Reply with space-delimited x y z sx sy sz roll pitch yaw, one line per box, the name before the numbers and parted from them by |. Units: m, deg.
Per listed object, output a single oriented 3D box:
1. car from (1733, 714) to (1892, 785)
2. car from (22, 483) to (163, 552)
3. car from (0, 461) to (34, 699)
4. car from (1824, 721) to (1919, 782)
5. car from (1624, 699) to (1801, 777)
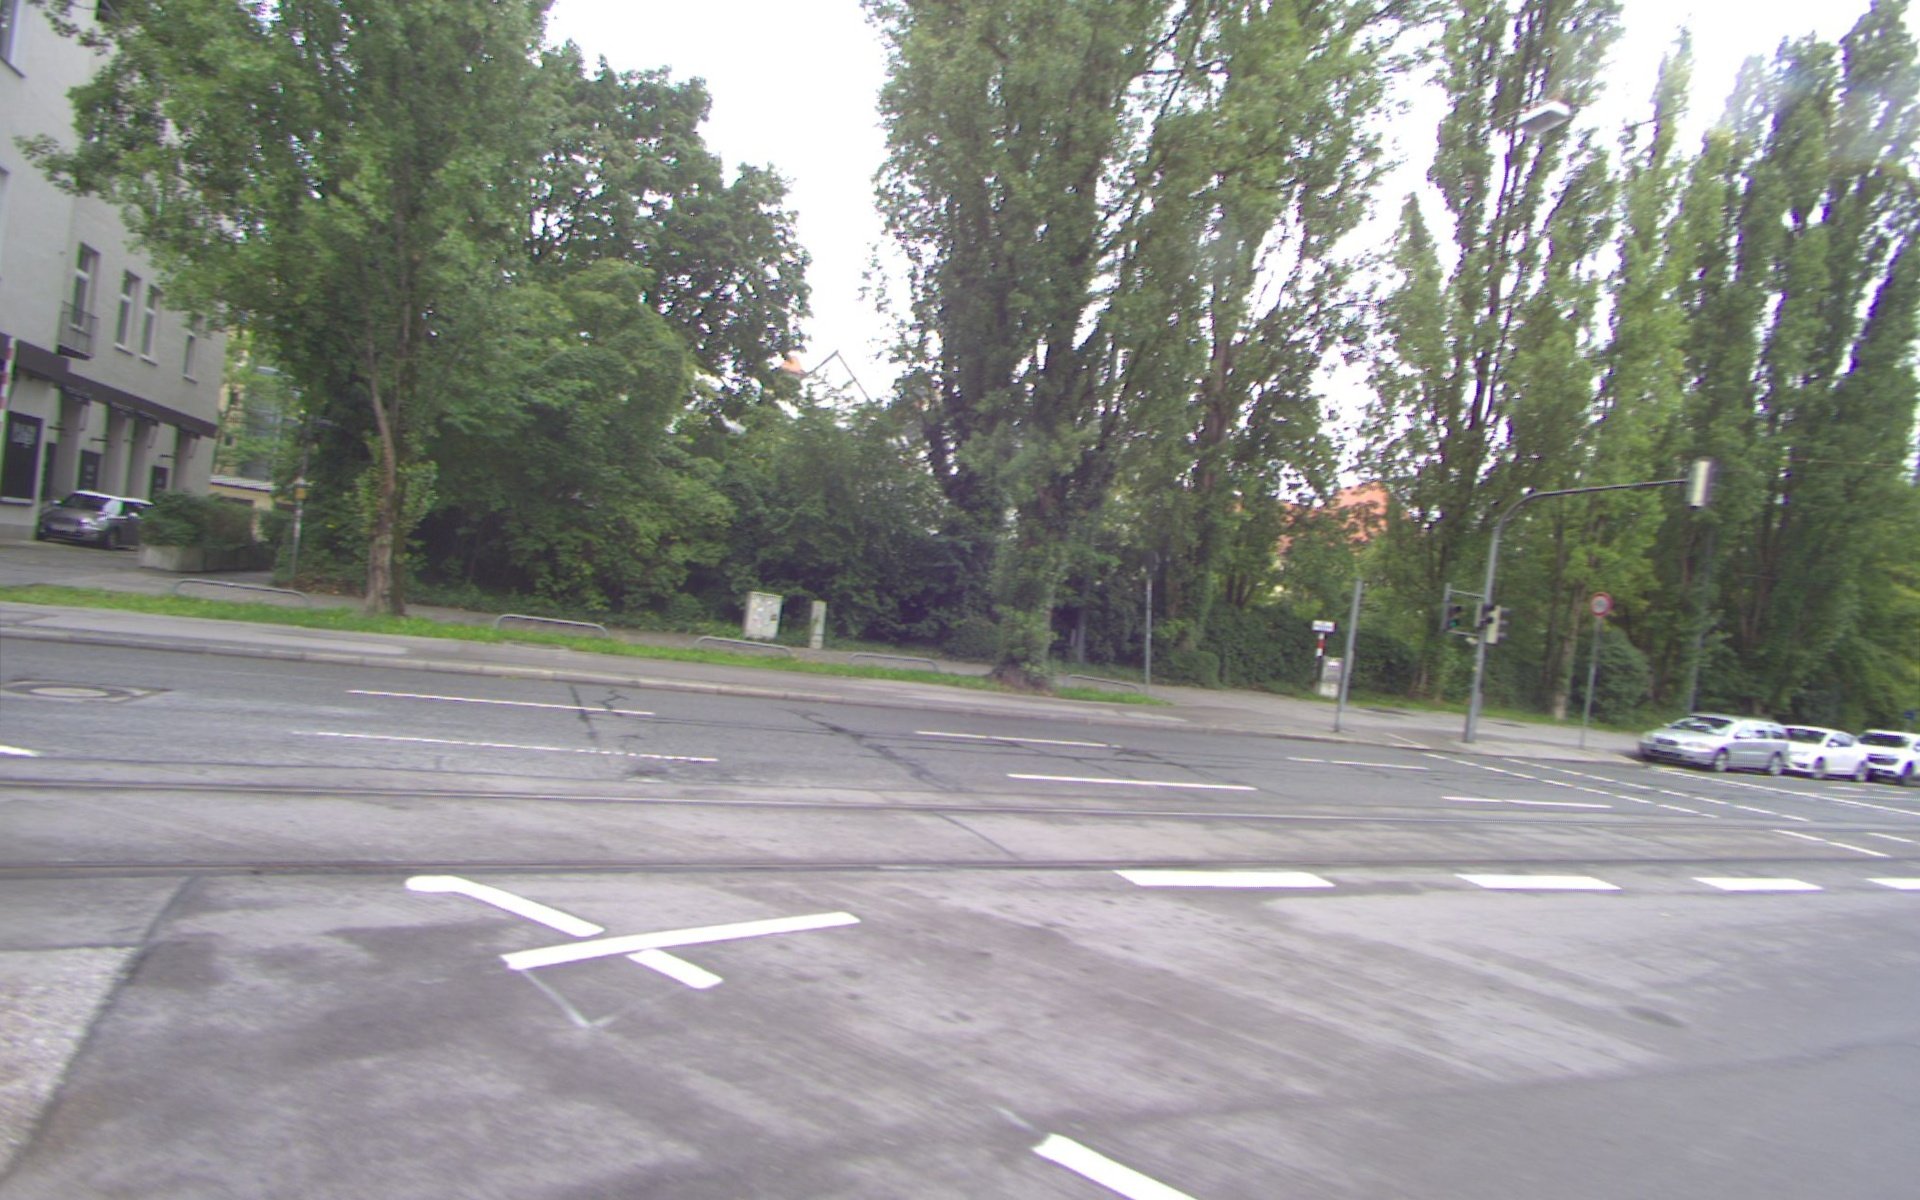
car | 24.680 4.324 29.124 4.204 1.504 1.776 7 0 -24
car | -23.022 -2.154 26.867 1.709 1.460 3.974 7 0 -25
car | -8.535 -0.451 5.700 4.619 1.568 1.868 8 0 -2
car | 29.163 4.786 31.423 4.090 1.504 1.775 7 0 -27
car | 19.813 3.646 26.485 4.297 1.504 1.776 7 0 -24
